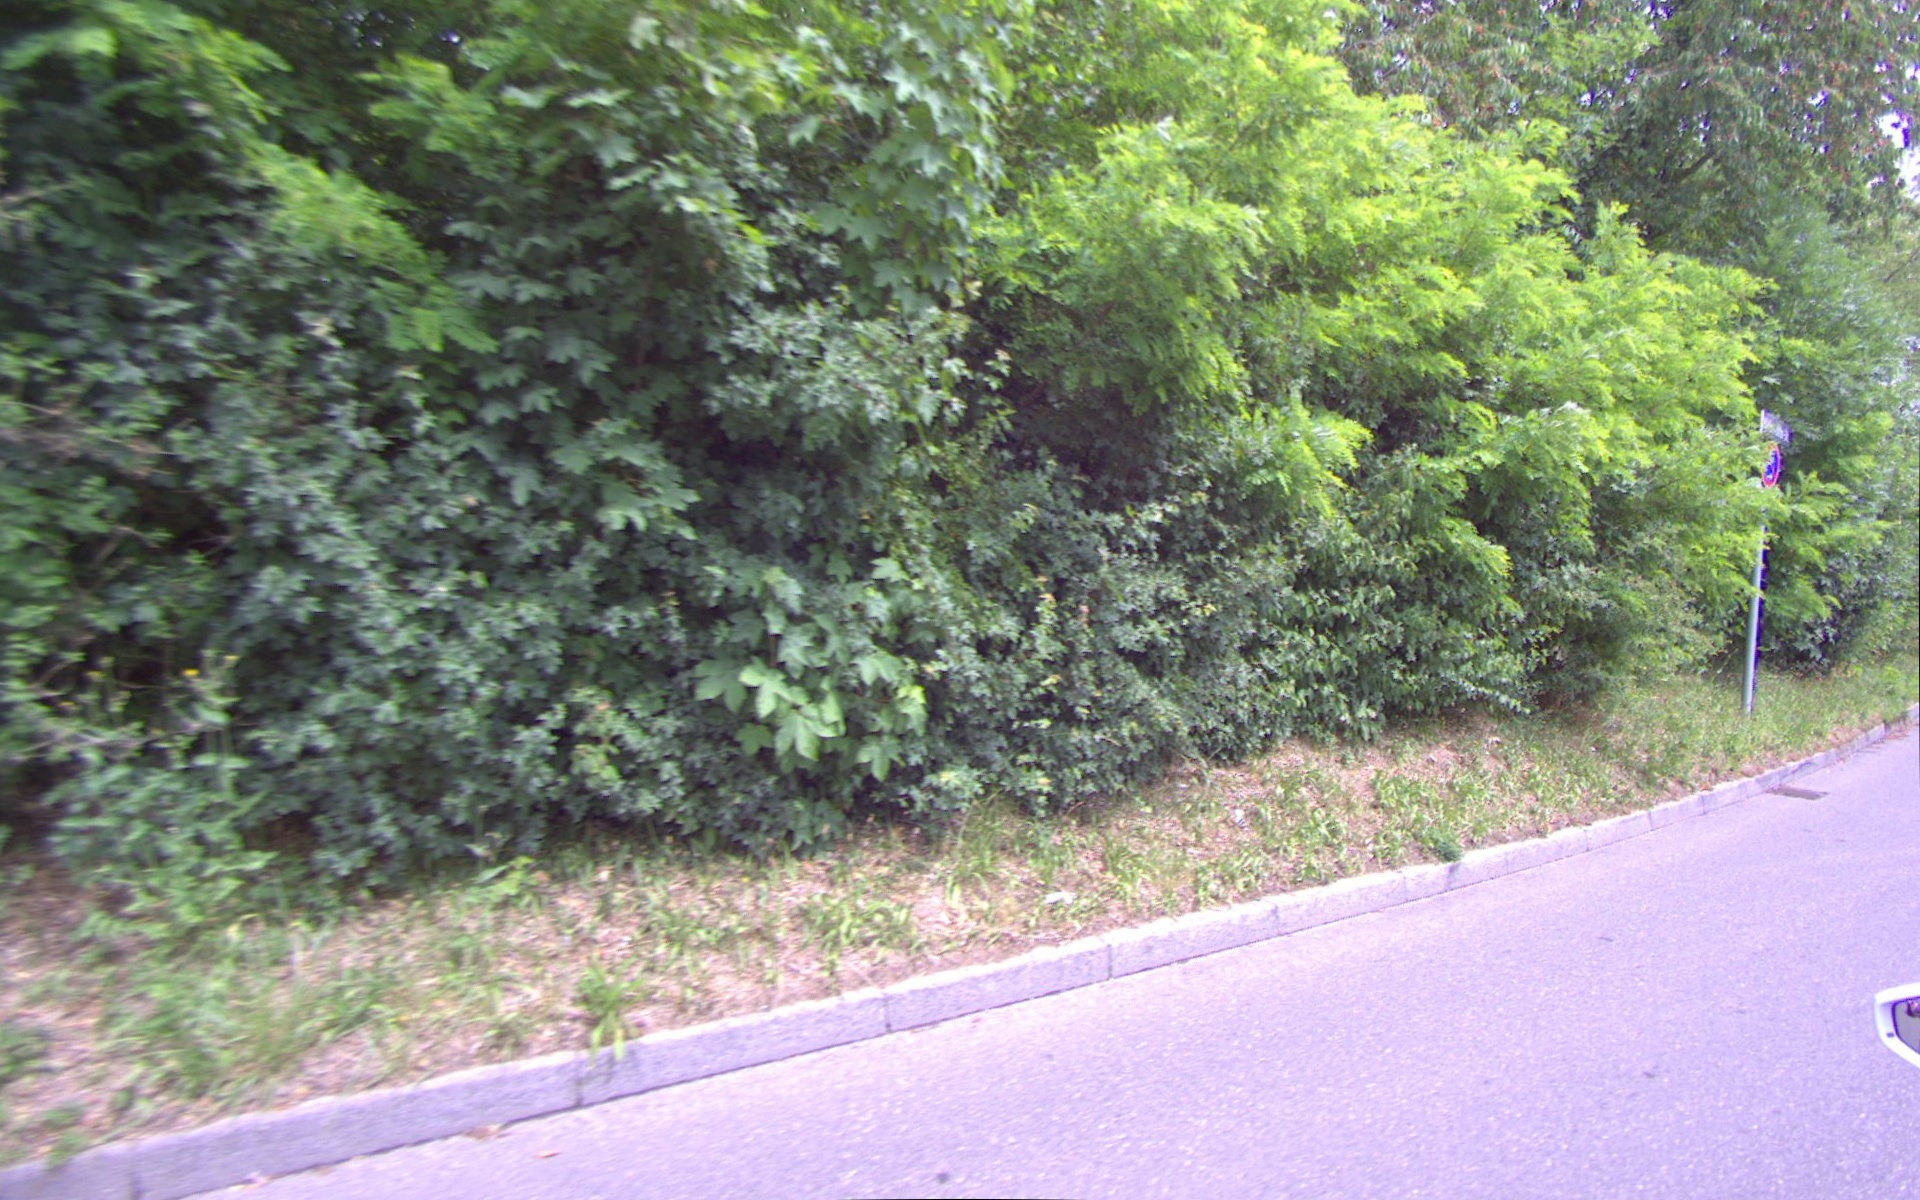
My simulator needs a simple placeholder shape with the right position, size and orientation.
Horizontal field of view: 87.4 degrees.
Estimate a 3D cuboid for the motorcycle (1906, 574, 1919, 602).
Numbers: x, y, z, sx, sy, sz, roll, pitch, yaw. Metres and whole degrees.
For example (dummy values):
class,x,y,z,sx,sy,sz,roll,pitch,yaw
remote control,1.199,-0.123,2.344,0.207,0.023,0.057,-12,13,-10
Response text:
class,x,y,z,sx,sy,sz,roll,pitch,yaw
motorcycle,46.367,-0.533,47.440,1.054,1.283,2.162,-3,4,-22
